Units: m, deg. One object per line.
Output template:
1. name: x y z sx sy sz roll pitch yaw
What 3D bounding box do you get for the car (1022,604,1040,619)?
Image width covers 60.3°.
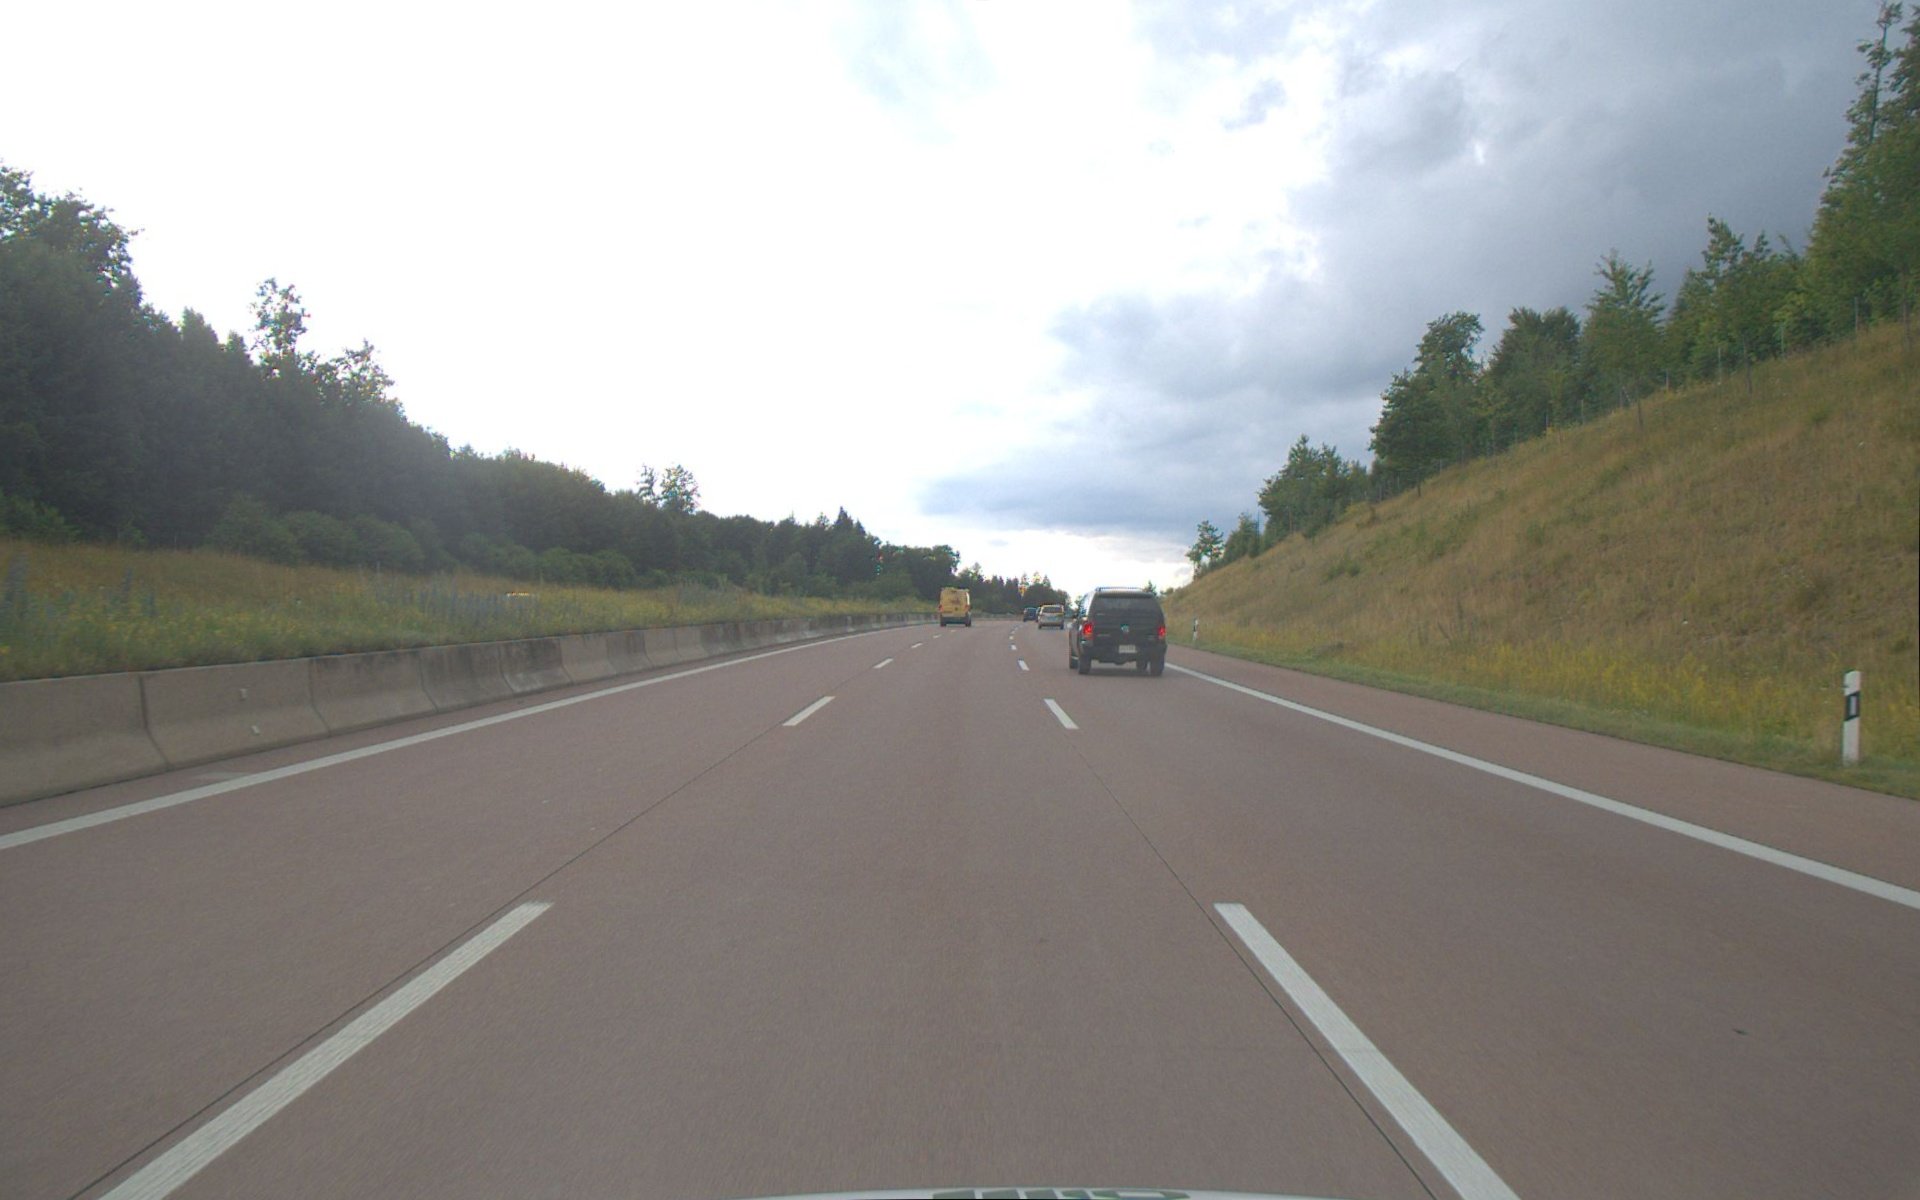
1. car: 8.715 1.419 202.738 1.847 1.795 5.001 0 -1 8

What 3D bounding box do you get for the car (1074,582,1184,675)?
1. car: 3.712 0.645 37.323 2.002 1.930 5.577 0 -1 1

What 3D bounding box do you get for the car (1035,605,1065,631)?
1. car: 6.123 1.227 112.566 1.936 1.677 4.620 1 -1 3

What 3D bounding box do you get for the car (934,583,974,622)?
1. car: -0.408 0.218 118.530 2.407 2.754 5.616 0 -1 4

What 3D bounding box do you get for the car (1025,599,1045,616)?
1. car: 8.136 0.862 179.747 1.847 1.795 4.785 0 -1 6
